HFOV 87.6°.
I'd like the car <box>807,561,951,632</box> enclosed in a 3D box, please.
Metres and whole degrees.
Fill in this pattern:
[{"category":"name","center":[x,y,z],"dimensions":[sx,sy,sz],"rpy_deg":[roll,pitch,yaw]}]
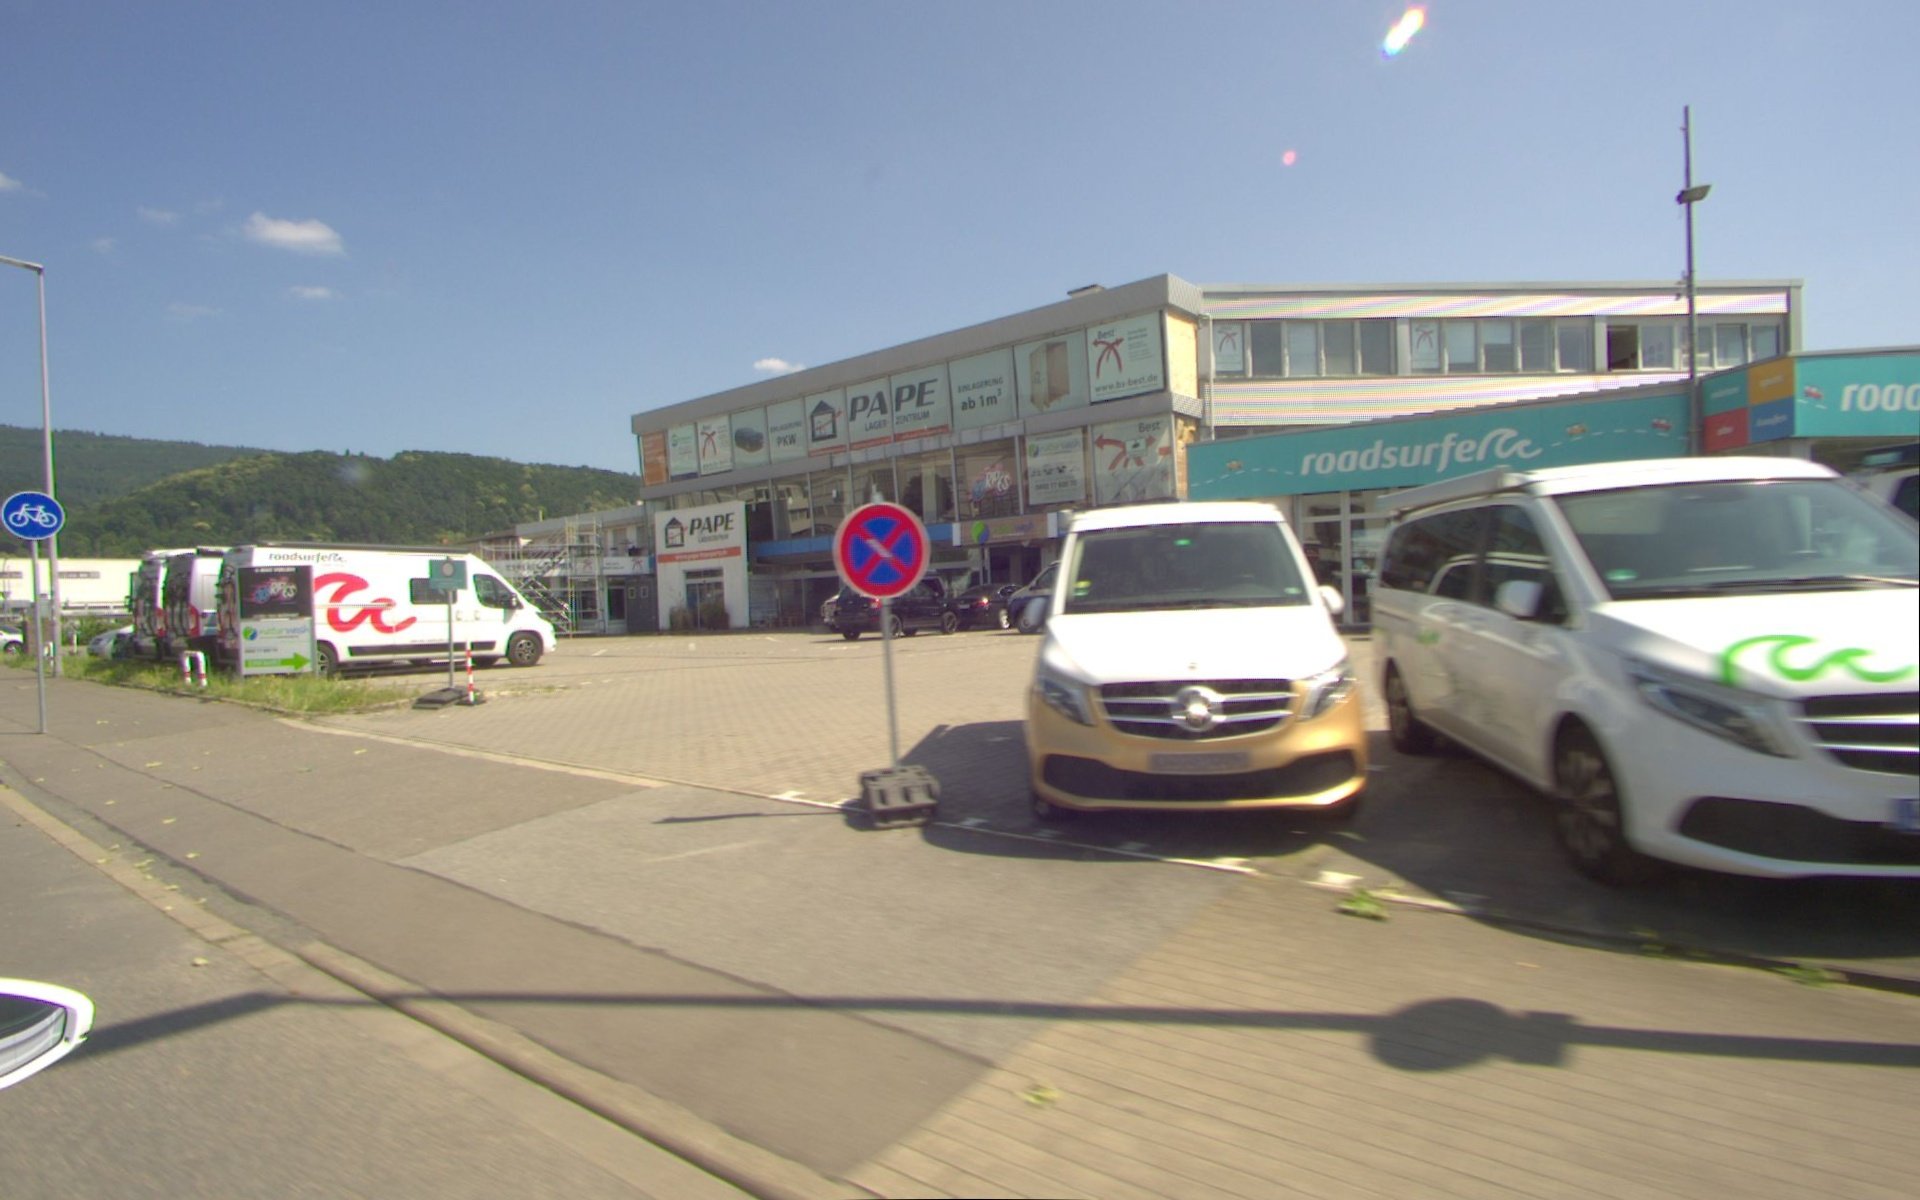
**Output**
[{"category":"car","center":[-2.886,-0.156,37.044],"dimensions":[2.297,2.451,5.274],"rpy_deg":[0,1,39]}]

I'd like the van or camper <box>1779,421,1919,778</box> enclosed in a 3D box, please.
[{"category":"van or camper","center":[6.689,-0.011,4.399],"dimensions":[2.405,2.104,5.137],"rpy_deg":[-1,1,7]}]

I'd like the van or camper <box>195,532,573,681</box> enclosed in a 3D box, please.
[{"category":"van or camper","center":[-11.463,0.071,20.457],"dimensions":[2.587,2.558,6.168],"rpy_deg":[0,1,39]}]

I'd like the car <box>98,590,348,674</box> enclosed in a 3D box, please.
[{"category":"car","center":[-20.210,0.782,27.706],"dimensions":[1.975,1.978,5.210],"rpy_deg":[0,2,39]}]

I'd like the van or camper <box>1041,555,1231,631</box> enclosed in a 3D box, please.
[{"category":"van or camper","center":[5.073,-0.177,29.159],"dimensions":[5.045,2.041,2.111],"rpy_deg":[-1,1,34]}]

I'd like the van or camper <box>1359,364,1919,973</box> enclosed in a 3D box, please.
[{"category":"van or camper","center":[3.984,0.188,5.801],"dimensions":[2.003,2.073,4.978],"rpy_deg":[-2,1,9]}]

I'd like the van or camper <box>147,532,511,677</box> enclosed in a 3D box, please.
[{"category":"van or camper","center":[-13.804,0.050,22.367],"dimensions":[2.679,2.753,6.321],"rpy_deg":[0,1,39]}]

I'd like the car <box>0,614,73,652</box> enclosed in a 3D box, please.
[{"category":"car","center":[-44.845,1.563,46.600],"dimensions":[4.951,1.640,2.026],"rpy_deg":[-1,-5,-8]}]

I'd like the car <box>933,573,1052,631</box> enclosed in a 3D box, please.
[{"category":"car","center":[1.124,0.035,32.759],"dimensions":[1.973,1.756,4.092],"rpy_deg":[-1,1,35]}]

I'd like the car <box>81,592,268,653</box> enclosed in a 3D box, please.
[{"category":"car","center":[-22.474,0.599,28.775],"dimensions":[1.776,1.614,3.905],"rpy_deg":[0,1,39]}]

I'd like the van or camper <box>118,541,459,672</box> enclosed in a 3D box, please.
[{"category":"van or camper","center":[-15.957,0.106,24.218],"dimensions":[2.679,2.736,6.321],"rpy_deg":[0,1,39]}]

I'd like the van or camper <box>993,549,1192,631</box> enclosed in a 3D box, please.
[{"category":"van or camper","center":[3.543,-0.242,27.125],"dimensions":[4.951,2.041,1.989],"rpy_deg":[-1,1,33]}]

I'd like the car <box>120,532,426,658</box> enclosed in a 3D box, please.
[{"category":"car","center":[-17.834,-0.154,26.365],"dimensions":[2.292,2.908,6.200],"rpy_deg":[0,1,39]}]

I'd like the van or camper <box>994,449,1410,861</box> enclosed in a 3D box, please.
[{"category":"van or camper","center":[1.569,0.253,7.513],"dimensions":[1.949,1.988,5.132],"rpy_deg":[-2,1,9]}]

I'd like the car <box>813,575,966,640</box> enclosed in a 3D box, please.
[{"category":"car","center":[-1.929,0.172,28.787],"dimensions":[1.973,1.700,4.522],"rpy_deg":[-1,1,35]}]
